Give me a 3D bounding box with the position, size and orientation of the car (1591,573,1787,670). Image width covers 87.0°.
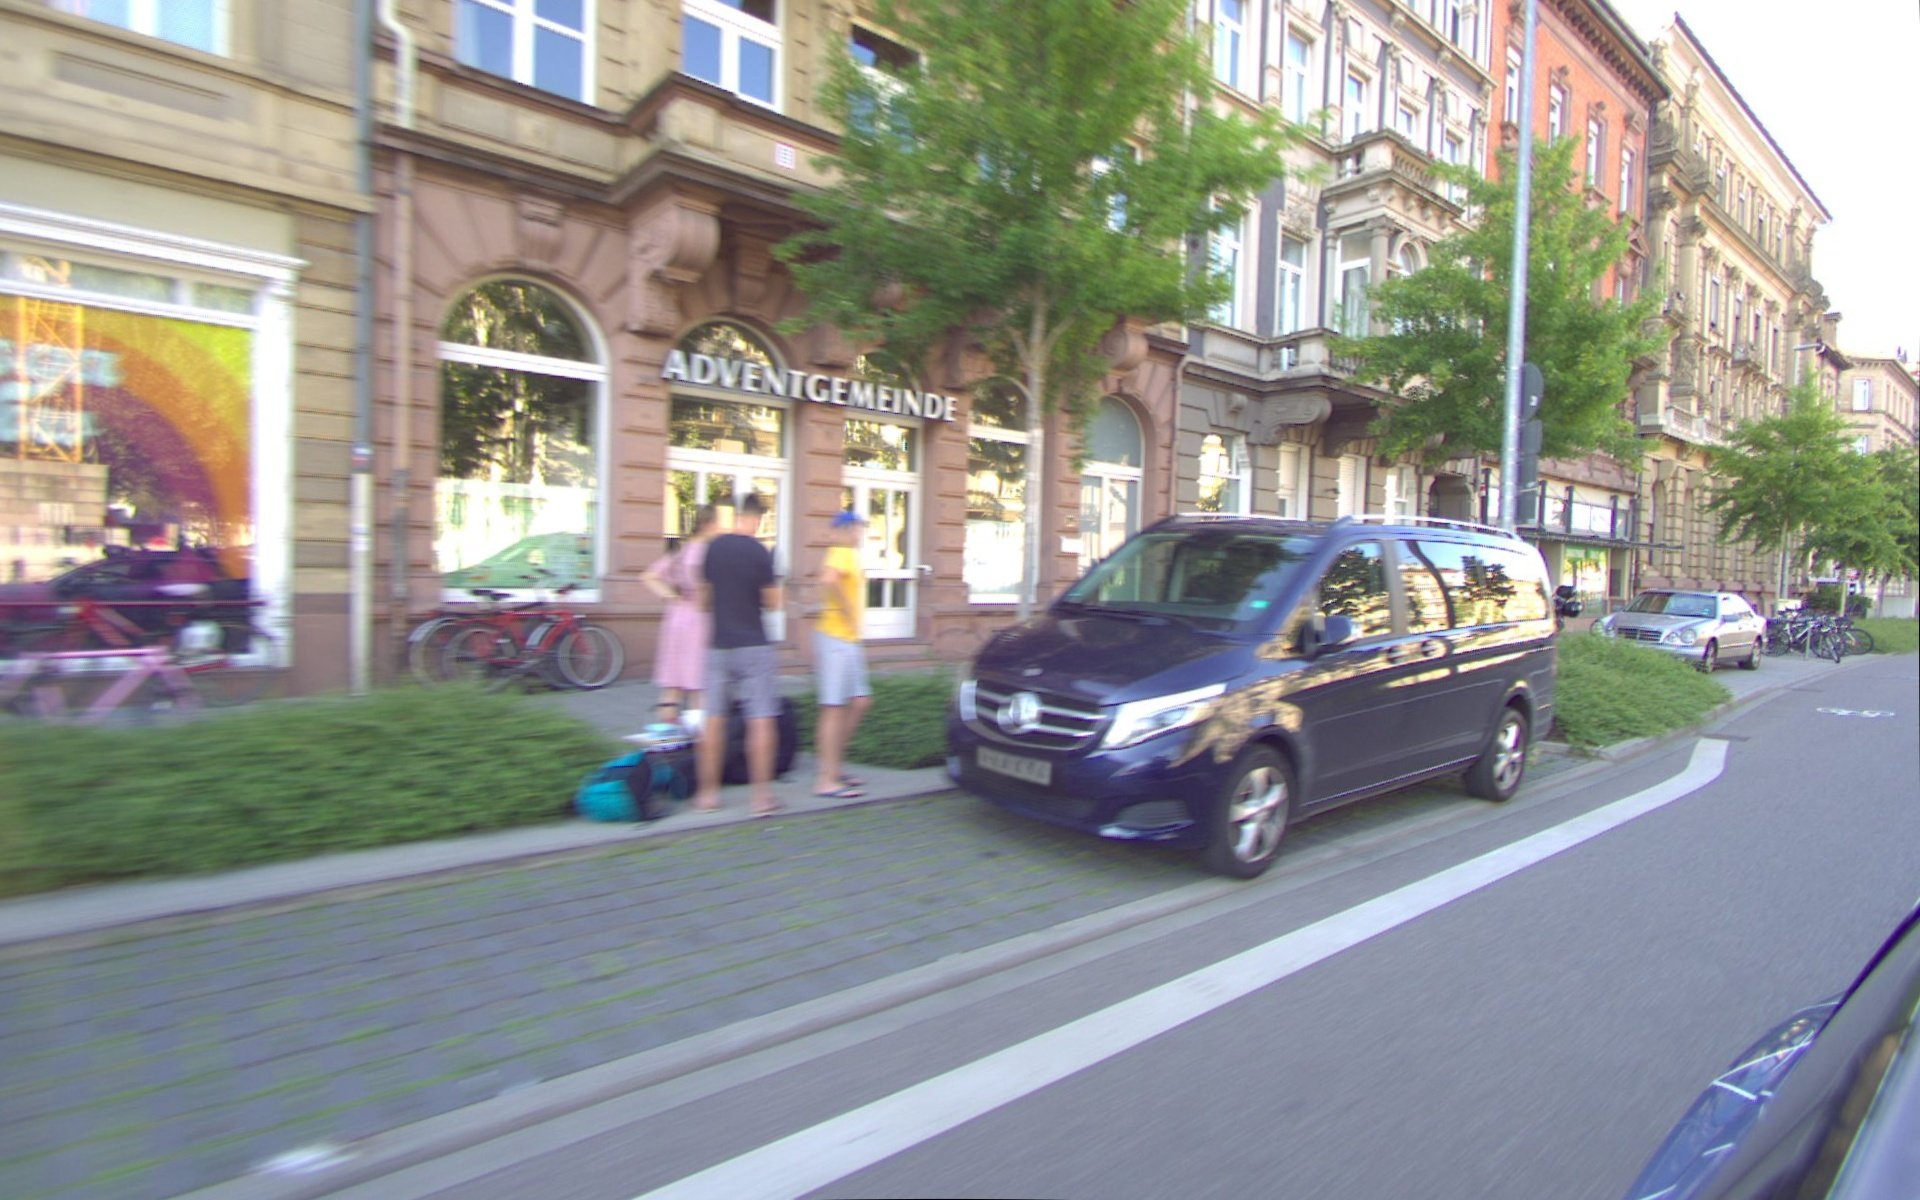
[{"bbox_3d":[13.490,0.338,18.617,4.657,1.502,1.695,0,4,-39],"label":"car"}]

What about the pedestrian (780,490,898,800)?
[{"bbox_3d":[-0.725,0.246,6.047,0.482,1.750,0.505,0,1,-41],"label":"pedestrian"}]

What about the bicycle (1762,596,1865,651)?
[{"bbox_3d":[19.275,0.502,22.881,0.520,1.132,1.693,0,2,-38],"label":"bicycle"}]

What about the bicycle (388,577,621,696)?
[{"bbox_3d":[-4.329,0.312,9.757,2.036,1.046,0.343,0,1,-41],"label":"bicycle"}]

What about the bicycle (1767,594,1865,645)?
[{"bbox_3d":[20.561,0.457,24.333,0.520,1.132,1.693,0,2,-38],"label":"bicycle"}]

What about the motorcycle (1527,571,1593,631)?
[{"bbox_3d":[15.128,0.011,25.493,2.017,1.439,0.788,0,2,-40],"label":"motorcycle"}]

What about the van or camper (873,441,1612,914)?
[{"bbox_3d":[2.223,0.261,6.742,5.389,1.995,1.966,0,4,-40],"label":"van or camper"}]

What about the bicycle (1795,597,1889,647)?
[{"bbox_3d":[21.652,0.515,24.860,0.522,1.132,1.690,0,2,-45],"label":"bicycle"}]

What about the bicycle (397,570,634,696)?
[{"bbox_3d":[-4.105,0.275,9.489,2.036,1.078,0.325,0,1,-41],"label":"bicycle"}]

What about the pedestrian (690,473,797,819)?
[{"bbox_3d":[-1.201,0.234,5.569,0.495,1.801,0.473,0,1,-21],"label":"pedestrian"}]

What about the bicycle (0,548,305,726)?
[{"bbox_3d":[-6.282,0.239,7.770,2.036,1.235,0.706,0,2,-41],"label":"bicycle"}]

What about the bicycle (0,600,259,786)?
[{"bbox_3d":[-4.915,0.479,5.597,1.653,0.927,0.656,0,2,-41],"label":"bicycle"}]

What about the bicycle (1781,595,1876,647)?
[{"bbox_3d":[20.294,0.472,23.667,0.566,1.132,1.584,0,2,-38],"label":"bicycle"}]

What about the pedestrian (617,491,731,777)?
[{"bbox_3d":[-1.819,0.202,6.480,0.567,1.750,0.482,1,1,5],"label":"pedestrian"}]

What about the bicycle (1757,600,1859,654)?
[{"bbox_3d":[18.328,0.566,21.900,0.469,1.065,1.614,0,2,-38],"label":"bicycle"}]
